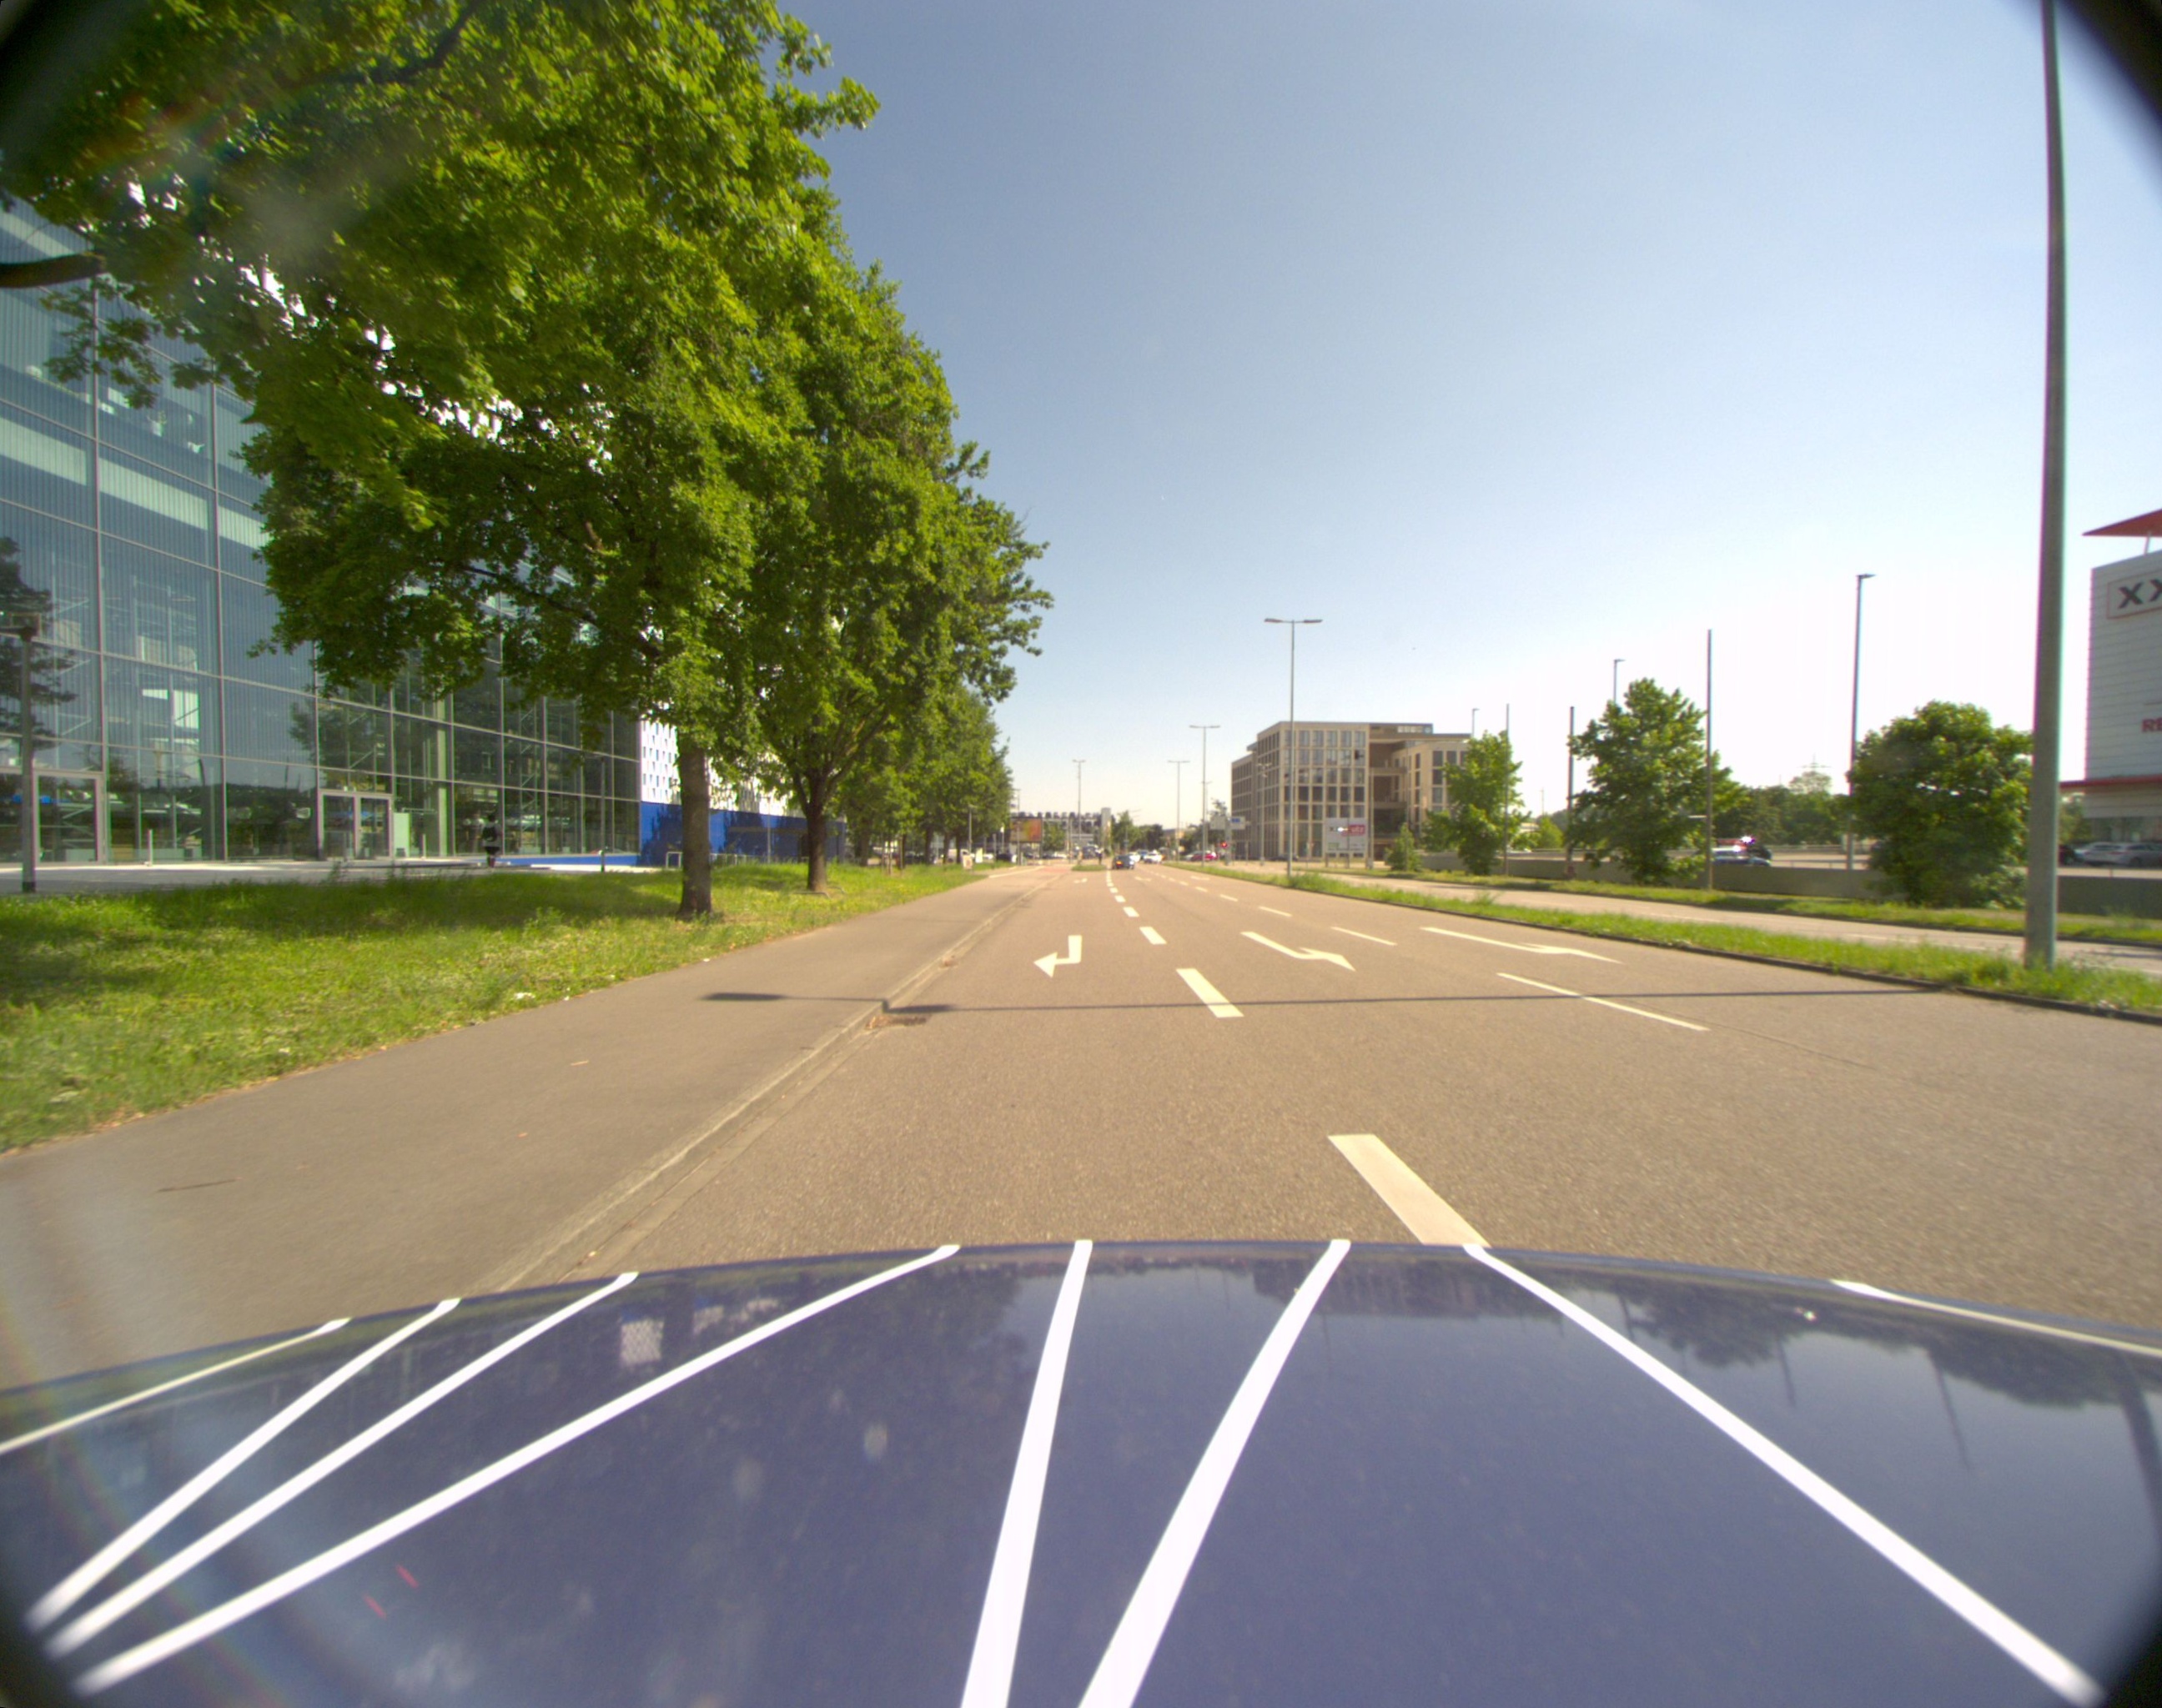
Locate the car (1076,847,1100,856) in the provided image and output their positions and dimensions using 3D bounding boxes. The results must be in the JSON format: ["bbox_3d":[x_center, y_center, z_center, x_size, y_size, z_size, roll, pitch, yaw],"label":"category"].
[{"bbox_3d":[1.310,-0.407,139.549,4.478,1.578,1.980,0,1,1],"label":"car"}]

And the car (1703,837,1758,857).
[{"bbox_3d":[50.829,-0.524,59.510,2.774,1.547,1.774,0,0,-1],"label":"car"}]

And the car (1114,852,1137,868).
[{"bbox_3d":[4.510,0.567,77.495,1.771,1.456,4.236,1,2,-3],"label":"car"}]

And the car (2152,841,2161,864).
[{"bbox_3d":[61.926,-0.069,42.024,3.222,1.322,1.515,0,2,-1],"label":"car"}]

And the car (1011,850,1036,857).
[{"bbox_3d":[-10.291,-0.123,136.758,4.349,1.342,1.821,0,1,-2],"label":"car"}]

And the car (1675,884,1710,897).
[{"bbox_3d":[48.814,2.905,60.688,1.942,0.970,1.070,0,2,-4],"label":"car"}]

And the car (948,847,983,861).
[{"bbox_3d":[-17.165,-0.058,113.423,4.997,1.996,1.740,0,2,-2],"label":"car"}]

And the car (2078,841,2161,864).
[{"bbox_3d":[60.974,-0.099,44.492,3.222,1.322,1.515,0,2,-1],"label":"car"}]

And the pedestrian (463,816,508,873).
[{"bbox_3d":[-17.108,-0.267,21.829,0.690,1.602,0.771,1,0,-4],"label":"pedestrian"}]

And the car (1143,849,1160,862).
[{"bbox_3d":[10.339,0.236,111.415,2.025,1.827,4.310,0,2,0],"label":"car"}]

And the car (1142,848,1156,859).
[{"bbox_3d":[12.688,-0.114,141.795,2.184,1.898,4.733,0,1,8],"label":"car"}]

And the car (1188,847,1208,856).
[{"bbox_3d":[26.114,-0.532,169.080,3.990,2.002,2.003,1,1,20],"label":"car"}]

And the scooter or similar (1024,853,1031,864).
[{"bbox_3d":[-6.013,0.489,85.504,0.402,1.160,1.185,1,2,17],"label":"scooter or similar"}]

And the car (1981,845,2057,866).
[{"bbox_3d":[61.015,0.056,49.464,3.095,1.322,1.515,0,2,-1],"label":"car"}]

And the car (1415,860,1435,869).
[{"bbox_3d":[40.941,1.245,90.338,1.942,0.970,0.889,0,2,-3],"label":"car"}]

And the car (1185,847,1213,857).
[{"bbox_3d":[19.576,-0.364,126.067,4.229,1.701,1.904,0,1,-3],"label":"car"}]

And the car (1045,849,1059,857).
[{"bbox_3d":[-5.197,-0.180,136.221,1.998,1.452,4.001,0,0,5],"label":"car"}]

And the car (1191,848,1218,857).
[{"bbox_3d":[19.856,-0.220,121.989,4.118,1.519,1.530,0,1,-2],"label":"car"}]

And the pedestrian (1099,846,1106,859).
[{"bbox_3d":[2.890,-0.217,102.529,0.704,1.769,0.961,1,1,24],"label":"pedestrian"}]

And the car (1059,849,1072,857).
[{"bbox_3d":[-2.744,-0.202,136.401,1.886,1.452,4.000,0,2,5],"label":"car"}]

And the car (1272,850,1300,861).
[{"bbox_3d":[34.187,0.255,126.910,4.240,1.878,1.834,0,2,0],"label":"car"}]

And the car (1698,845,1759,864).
[{"bbox_3d":[36.026,0.029,42.297,2.520,1.054,1.070,0,2,-3],"label":"car"}]

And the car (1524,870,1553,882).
[{"bbox_3d":[40.792,1.954,67.713,1.942,0.970,1.070,0,2,-3],"label":"car"}]

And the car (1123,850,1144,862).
[{"bbox_3d":[7.935,0.281,114.479,1.829,1.703,3.772,1,2,27],"label":"car"}]

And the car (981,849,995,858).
[{"bbox_3d":[-16.607,-0.119,135.958,2.004,1.413,4.113,-2,0,-2],"label":"car"}]
